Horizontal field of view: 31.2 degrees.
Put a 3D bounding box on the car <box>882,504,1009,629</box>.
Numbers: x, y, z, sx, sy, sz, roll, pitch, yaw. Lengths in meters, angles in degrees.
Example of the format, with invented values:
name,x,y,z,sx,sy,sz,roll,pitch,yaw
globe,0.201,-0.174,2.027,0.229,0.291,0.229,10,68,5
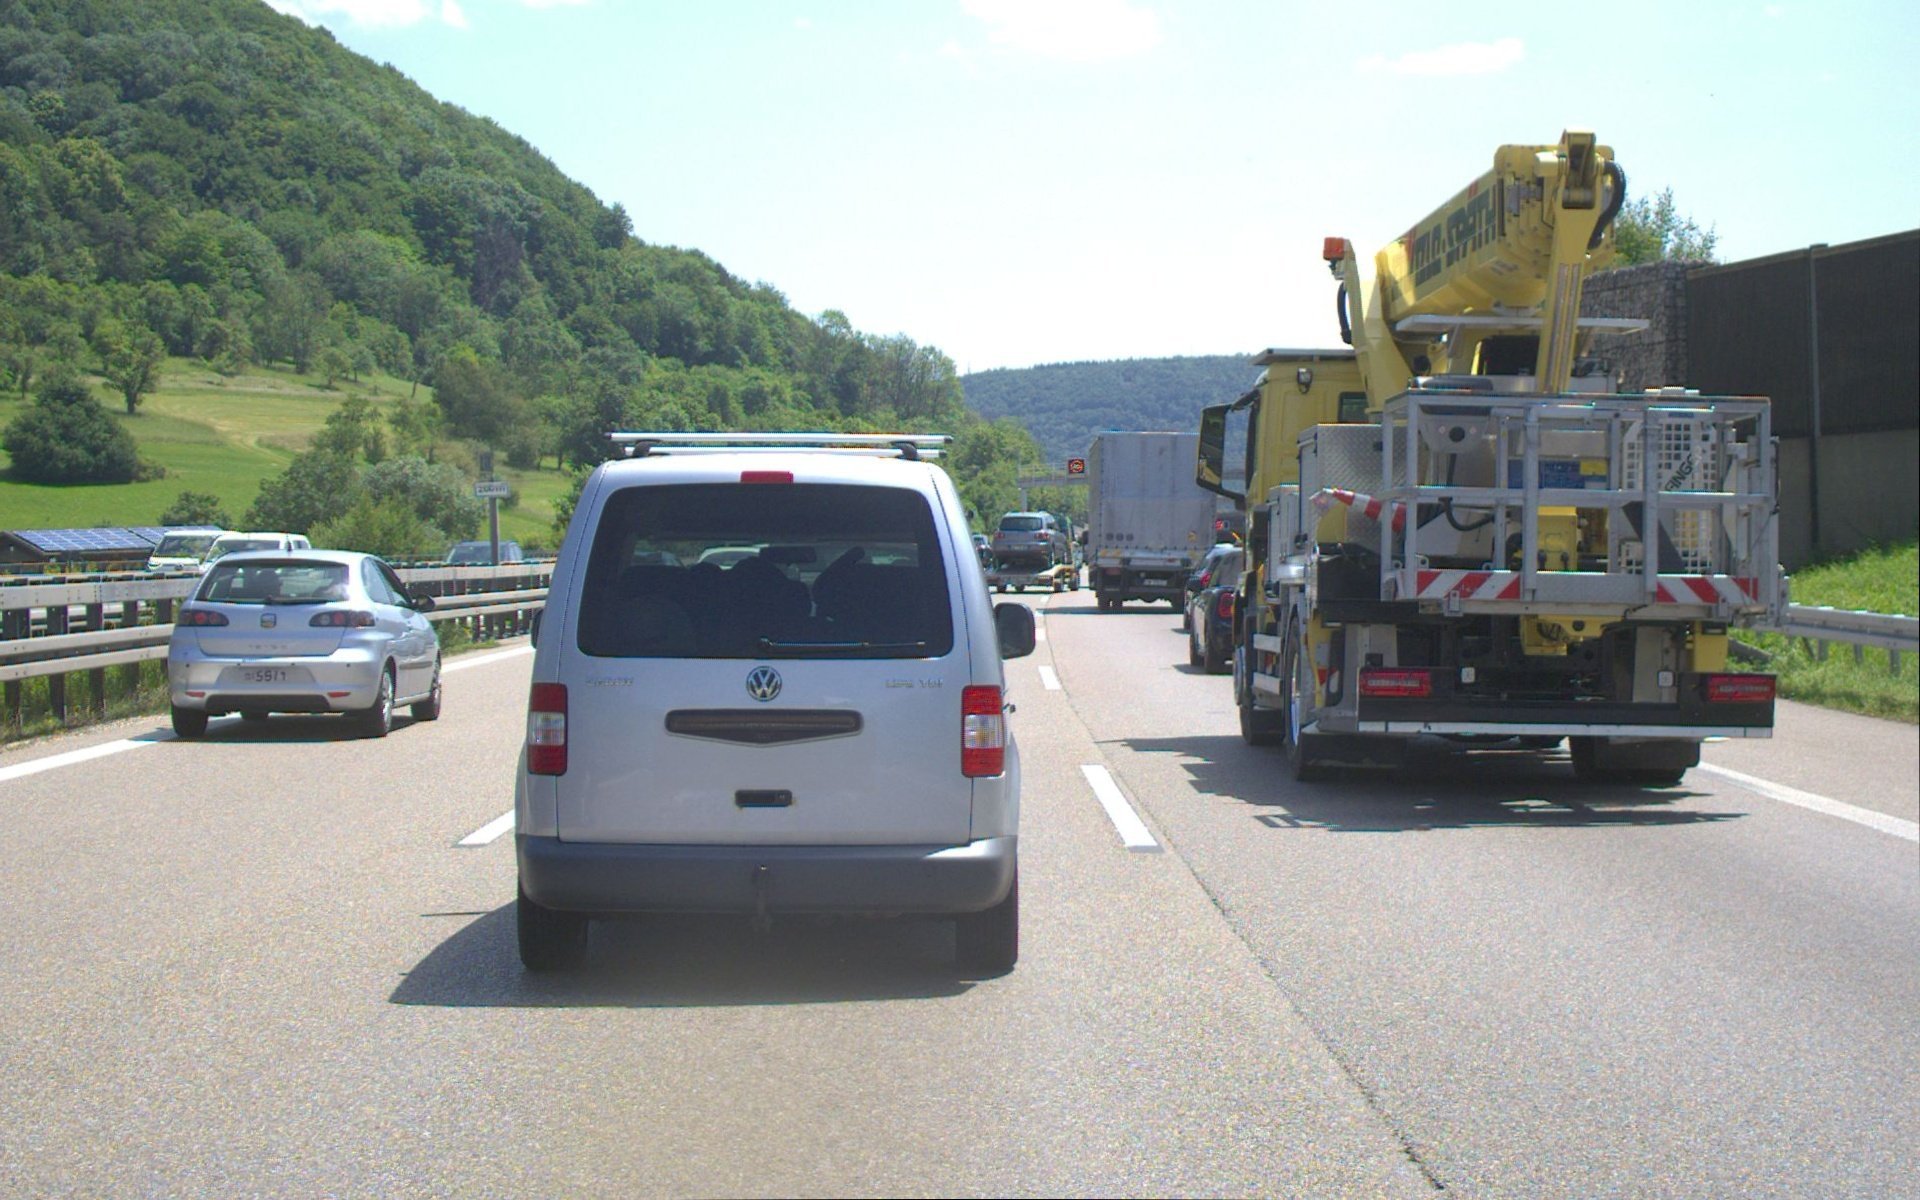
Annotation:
name,x,y,z,sx,sy,sz,roll,pitch,yaw
car,-0.273,-0.567,56.083,1.993,1.969,4.000,0,1,-1

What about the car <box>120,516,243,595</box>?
name,x,y,z,sx,sy,sz,roll,pitch,yaw
car,-19.608,-1.130,86.777,2.060,1.935,4.661,0,1,0

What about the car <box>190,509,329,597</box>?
name,x,y,z,sx,sy,sz,roll,pitch,yaw
car,-15.153,-1.026,74.656,1.993,1.832,5.227,0,1,0

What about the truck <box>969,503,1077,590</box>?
name,x,y,z,sx,sy,sz,roll,pitch,yaw
truck,1.930,-1.618,102.984,2.391,2.532,5.937,0,1,9

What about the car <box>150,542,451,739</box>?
name,x,y,z,sx,sy,sz,roll,pitch,yaw
car,-5.124,0.263,27.149,1.695,1.440,3.862,0,1,-1

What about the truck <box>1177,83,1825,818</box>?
name,x,y,z,sx,sy,sz,roll,pitch,yaw
truck,3.181,-0.881,22.793,2.704,3.929,8.722,0,1,-1

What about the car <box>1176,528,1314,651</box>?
name,x,y,z,sx,sy,sz,roll,pitch,yaw
car,4.767,-0.215,58.068,1.993,2.007,4.000,0,1,0

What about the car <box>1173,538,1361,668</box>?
name,x,y,z,sx,sy,sz,roll,pitch,yaw
car,3.565,-0.001,40.510,1.786,1.453,3.771,0,1,-1

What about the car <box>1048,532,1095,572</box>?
name,x,y,z,sx,sy,sz,roll,pitch,yaw
car,5.095,-2.191,157.171,1.993,1.799,4.000,1,1,0

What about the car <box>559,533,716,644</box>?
name,x,y,z,sx,sy,sz,roll,pitch,yaw
car,-4.515,-0.194,48.635,1.924,1.494,4.000,1,1,-1

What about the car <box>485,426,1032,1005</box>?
name,x,y,z,sx,sy,sz,roll,pitch,yaw
car,-0.700,0.337,13.089,1.756,1.861,4.000,0,1,-1

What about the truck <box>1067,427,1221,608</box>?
name,x,y,z,sx,sy,sz,roll,pitch,yaw
truck,4.028,-1.787,76.966,2.940,3.810,8.237,1,1,0

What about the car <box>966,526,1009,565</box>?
name,x,y,z,sx,sy,sz,roll,pitch,yaw
car,1.315,-2.616,165.501,1.993,1.799,4.000,1,1,0

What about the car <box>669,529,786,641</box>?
name,x,y,z,sx,sy,sz,roll,pitch,yaw
car,-4.312,-0.303,64.356,1.993,2.007,4.000,-1,1,-1
